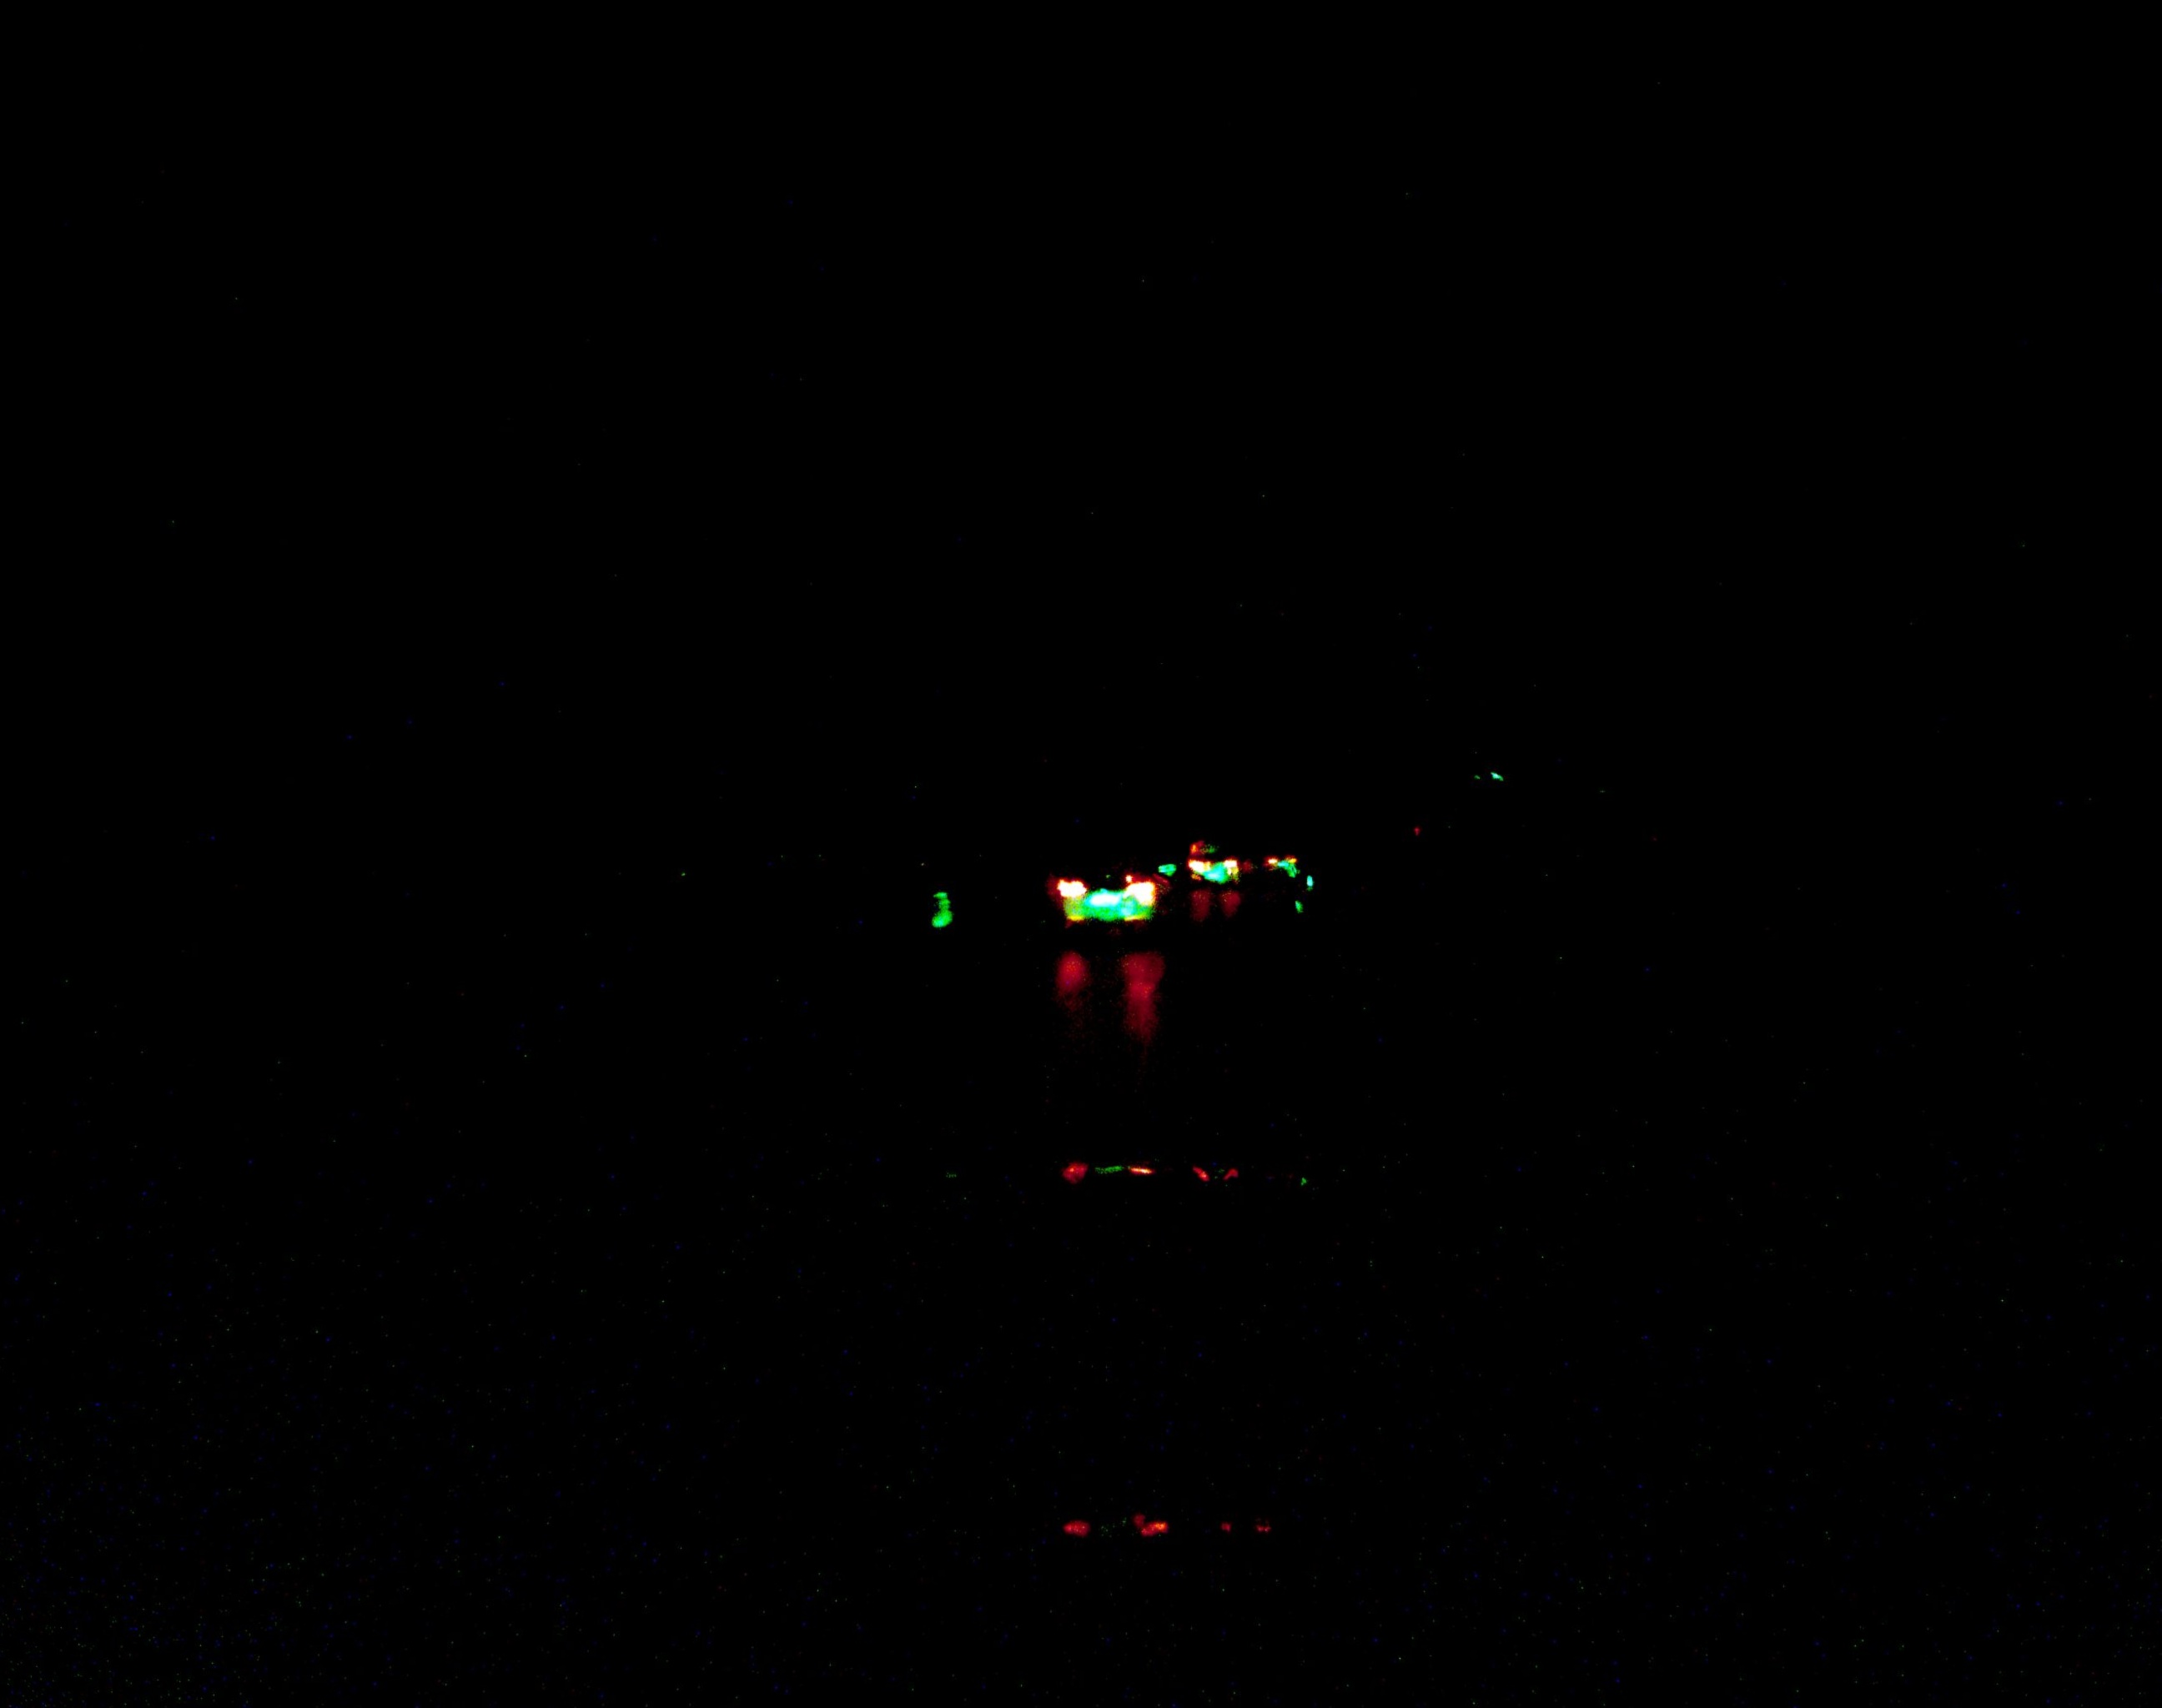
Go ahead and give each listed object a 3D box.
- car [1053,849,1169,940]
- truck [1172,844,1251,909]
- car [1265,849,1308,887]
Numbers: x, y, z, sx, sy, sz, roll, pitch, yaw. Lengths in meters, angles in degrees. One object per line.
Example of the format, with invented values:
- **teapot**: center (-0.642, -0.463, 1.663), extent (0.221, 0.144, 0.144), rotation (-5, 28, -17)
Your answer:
- **car**: center (0.645, 0.721, 15.891), extent (1.936, 1.491, 3.720), rotation (-2, -1, 4)
- **truck**: center (5.891, 0.929, 35.725), extent (3.049, 2.528, 7.189), rotation (-1, 0, 12)
- **car**: center (11.393, 0.752, 44.915), extent (1.820, 1.948, 4.020), rotation (-1, -1, 20)
